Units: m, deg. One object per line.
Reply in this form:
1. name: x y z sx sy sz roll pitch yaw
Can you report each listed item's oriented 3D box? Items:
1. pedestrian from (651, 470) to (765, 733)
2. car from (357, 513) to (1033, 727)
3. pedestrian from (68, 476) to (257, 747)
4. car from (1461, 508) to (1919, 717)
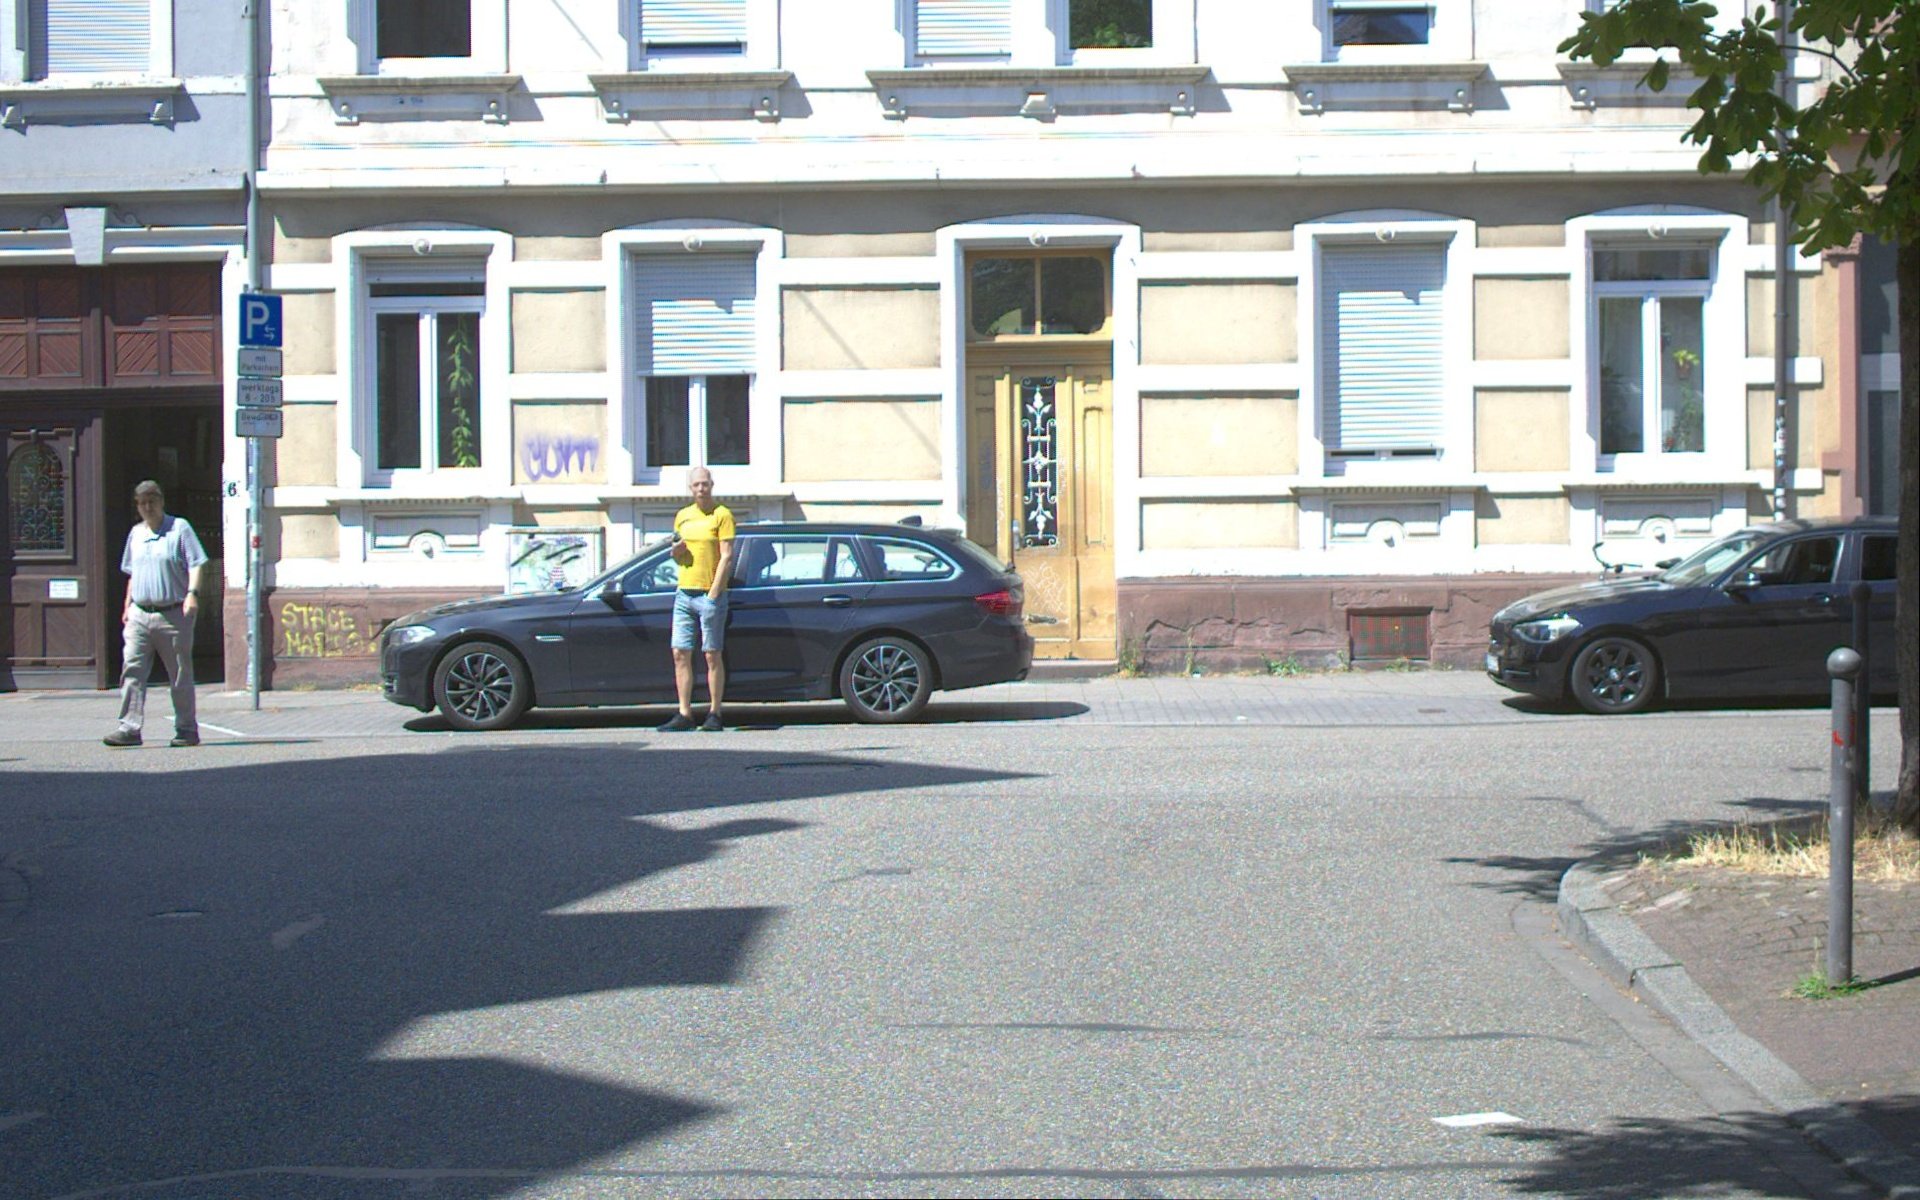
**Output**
1. pedestrian: -1.815 0.006 24.704 0.724 1.847 0.685 -1 1 -8
2. car: -1.900 0.127 25.821 4.859 1.432 2.000 -1 1 1
3. pedestrian: -5.459 0.070 23.585 0.901 1.808 0.960 -1 1 12
4. car: 6.033 0.062 25.772 4.294 1.365 1.807 -1 4 1
